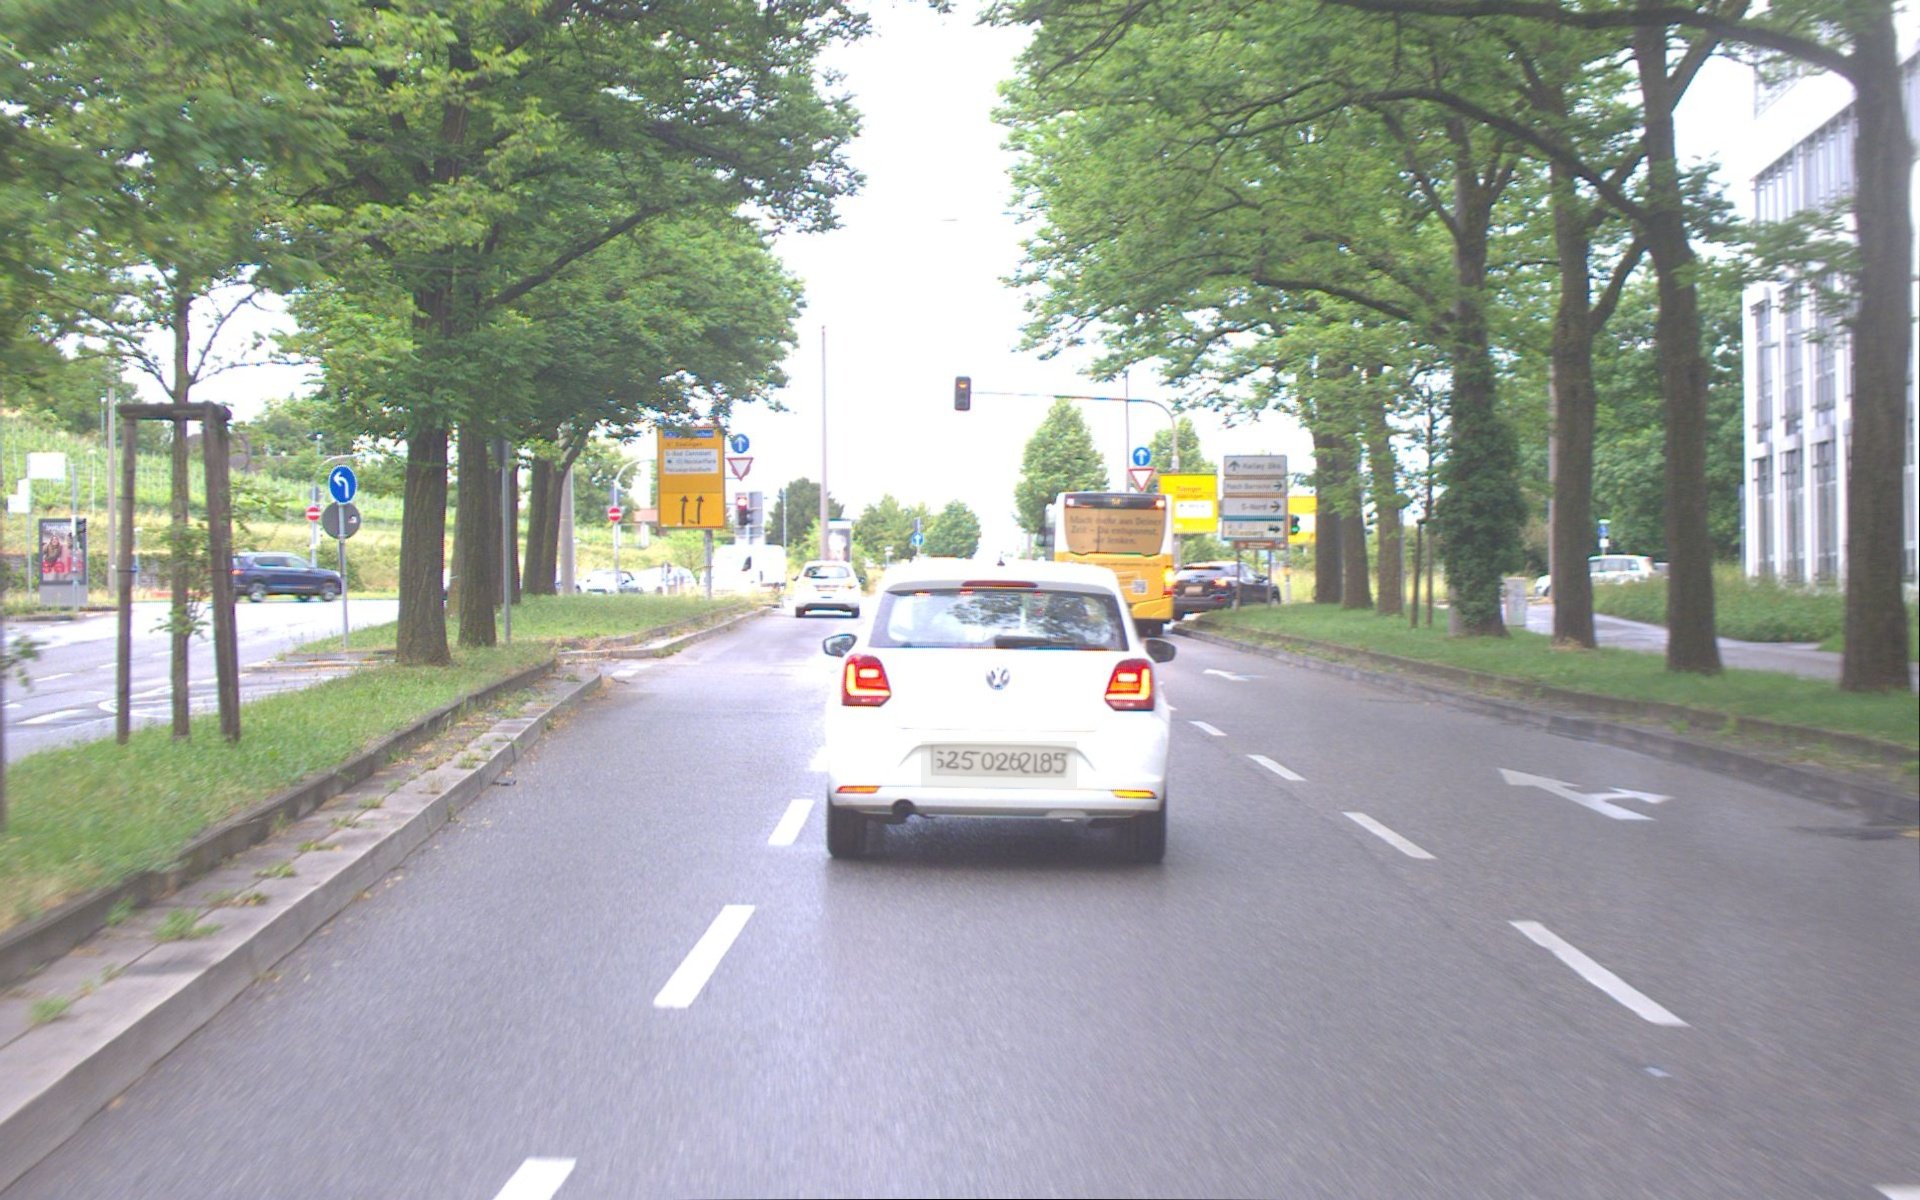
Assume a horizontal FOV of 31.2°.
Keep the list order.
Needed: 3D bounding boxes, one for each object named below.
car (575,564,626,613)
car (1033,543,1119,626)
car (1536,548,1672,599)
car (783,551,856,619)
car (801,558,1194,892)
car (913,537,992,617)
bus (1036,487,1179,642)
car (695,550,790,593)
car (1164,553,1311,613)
[{"bbox_3d":[-15.253,-0.461,145.946,1.993,2.007,4.000,0,-1,-3],"label":"car"},{"bbox_3d":[2.880,-0.375,85.928,1.993,2.007,4.000,-1,0,0],"label":"car"},{"bbox_3d":[20.715,-0.859,110.591,3.991,1.531,1.998,-1,1,21],"label":"car"},{"bbox_3d":[-3.719,-0.395,91.475,1.794,1.735,4.000,-1,0,-1],"label":"car"},{"bbox_3d":[0.118,0.554,17.869,1.794,1.497,4.000,1,1,-2],"label":"car"},{"bbox_3d":[-0.187,-0.576,89.683,1.993,2.007,4.000,-1,0,0],"label":"car"},{"bbox_3d":[3.216,-0.820,77.235,2.828,3.256,10.000,0,1,0],"label":"bus"},{"bbox_3d":[-10.696,-1.429,169.648,1.996,2.007,5.702,-1,1,28],"label":"car"},{"bbox_3d":[7.193,-0.441,88.988,3.817,1.510,1.699,-1,-1,-44],"label":"car"}]
